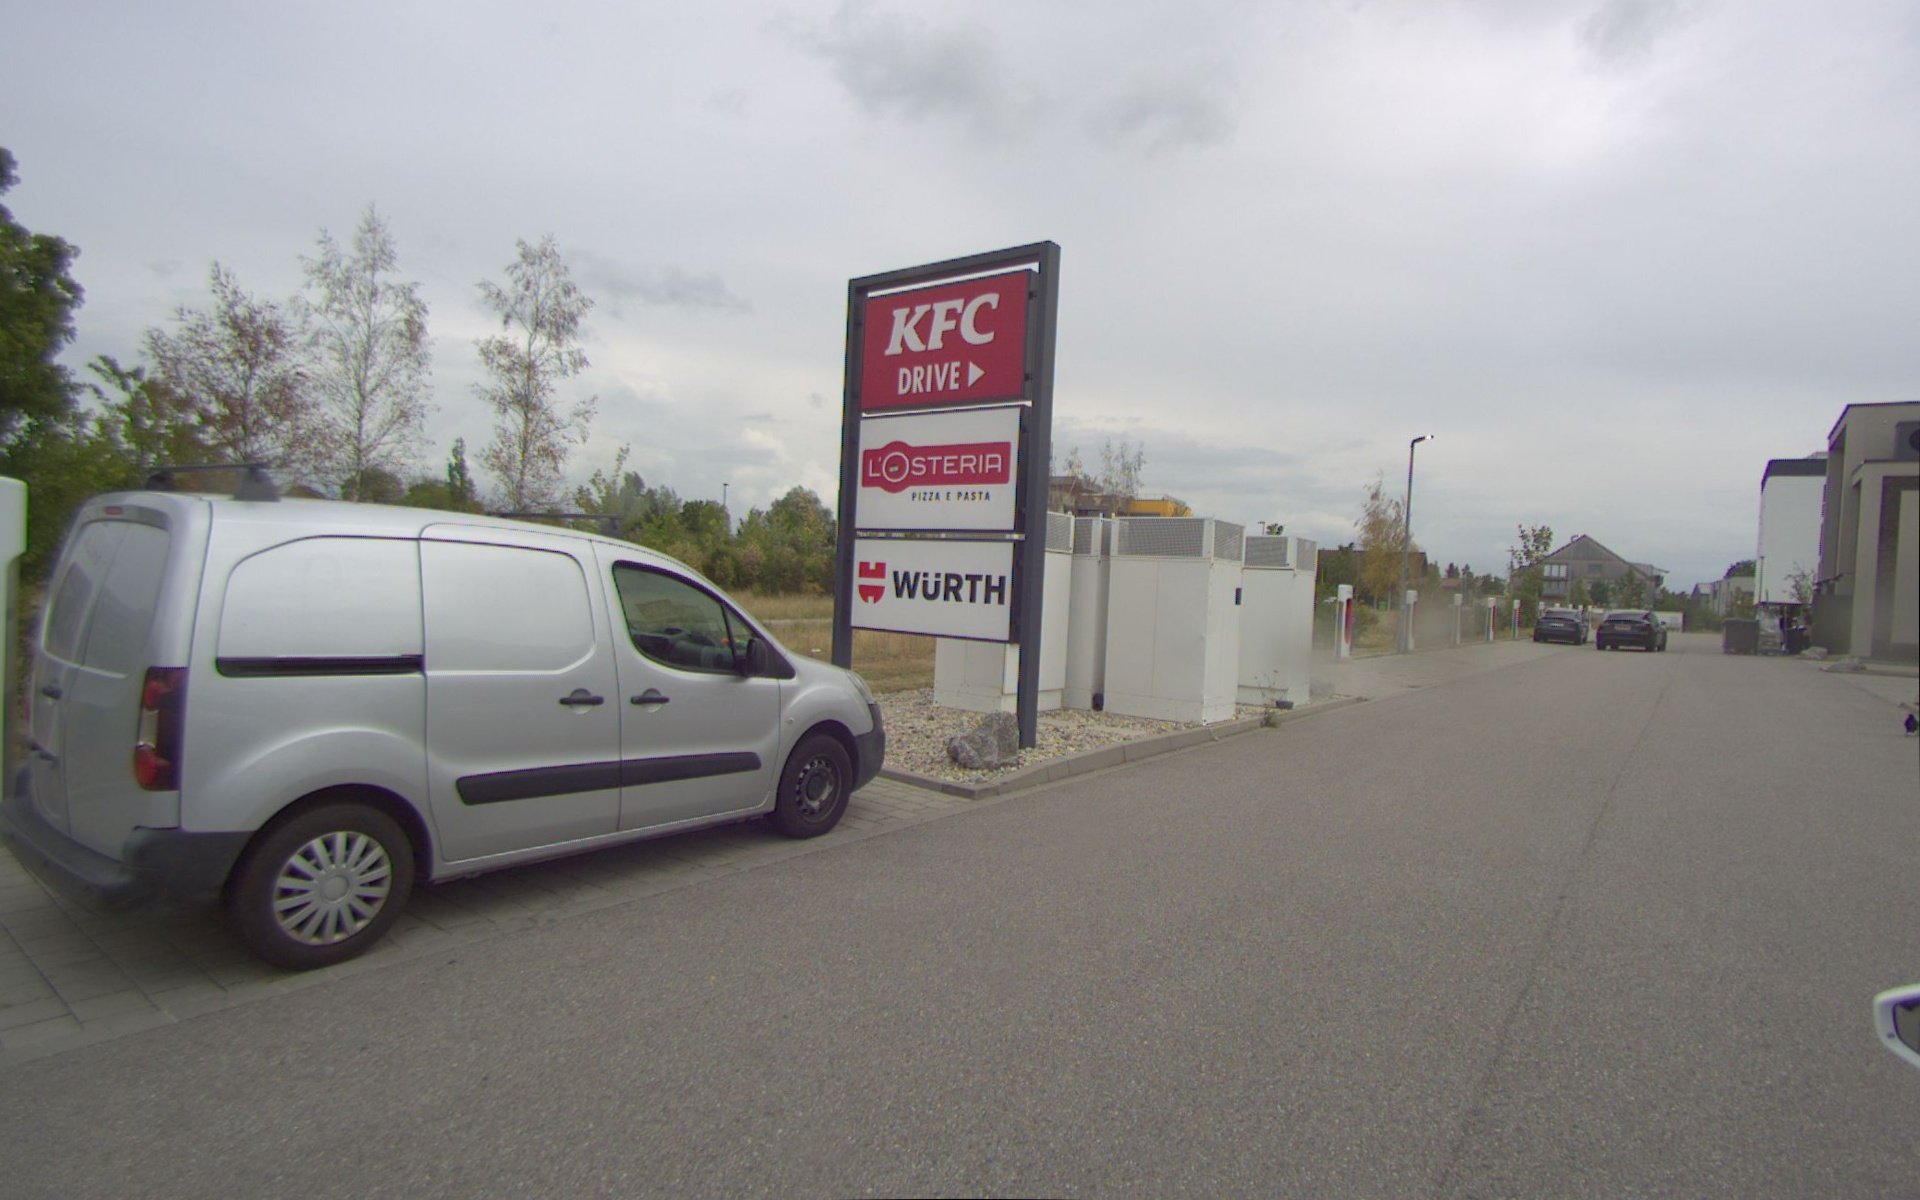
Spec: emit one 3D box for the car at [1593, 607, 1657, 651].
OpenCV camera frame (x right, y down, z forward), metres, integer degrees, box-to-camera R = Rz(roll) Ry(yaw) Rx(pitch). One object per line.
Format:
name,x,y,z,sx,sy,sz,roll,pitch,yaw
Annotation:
car,26.605,1.137,40.292,1.965,1.617,3.991,2,0,32

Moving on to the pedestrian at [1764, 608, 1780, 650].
pedestrian,32.706,1.156,40.471,0.424,1.667,0.388,2,0,32

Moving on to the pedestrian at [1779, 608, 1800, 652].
pedestrian,33.173,1.189,40.177,0.564,1.707,0.389,2,0,31

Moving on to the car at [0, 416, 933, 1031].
car,-2.230,0.409,5.453,1.914,1.913,4.322,2,0,36

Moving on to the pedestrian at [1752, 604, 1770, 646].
pedestrian,31.999,0.990,40.123,0.385,1.667,0.428,2,0,-28

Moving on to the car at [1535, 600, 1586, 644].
car,28.000,1.020,46.815,1.803,1.795,3.991,6,2,32

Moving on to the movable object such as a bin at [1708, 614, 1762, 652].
movable object such as a bin,29.555,1.257,38.339,1.342,1.368,1.869,2,0,30
